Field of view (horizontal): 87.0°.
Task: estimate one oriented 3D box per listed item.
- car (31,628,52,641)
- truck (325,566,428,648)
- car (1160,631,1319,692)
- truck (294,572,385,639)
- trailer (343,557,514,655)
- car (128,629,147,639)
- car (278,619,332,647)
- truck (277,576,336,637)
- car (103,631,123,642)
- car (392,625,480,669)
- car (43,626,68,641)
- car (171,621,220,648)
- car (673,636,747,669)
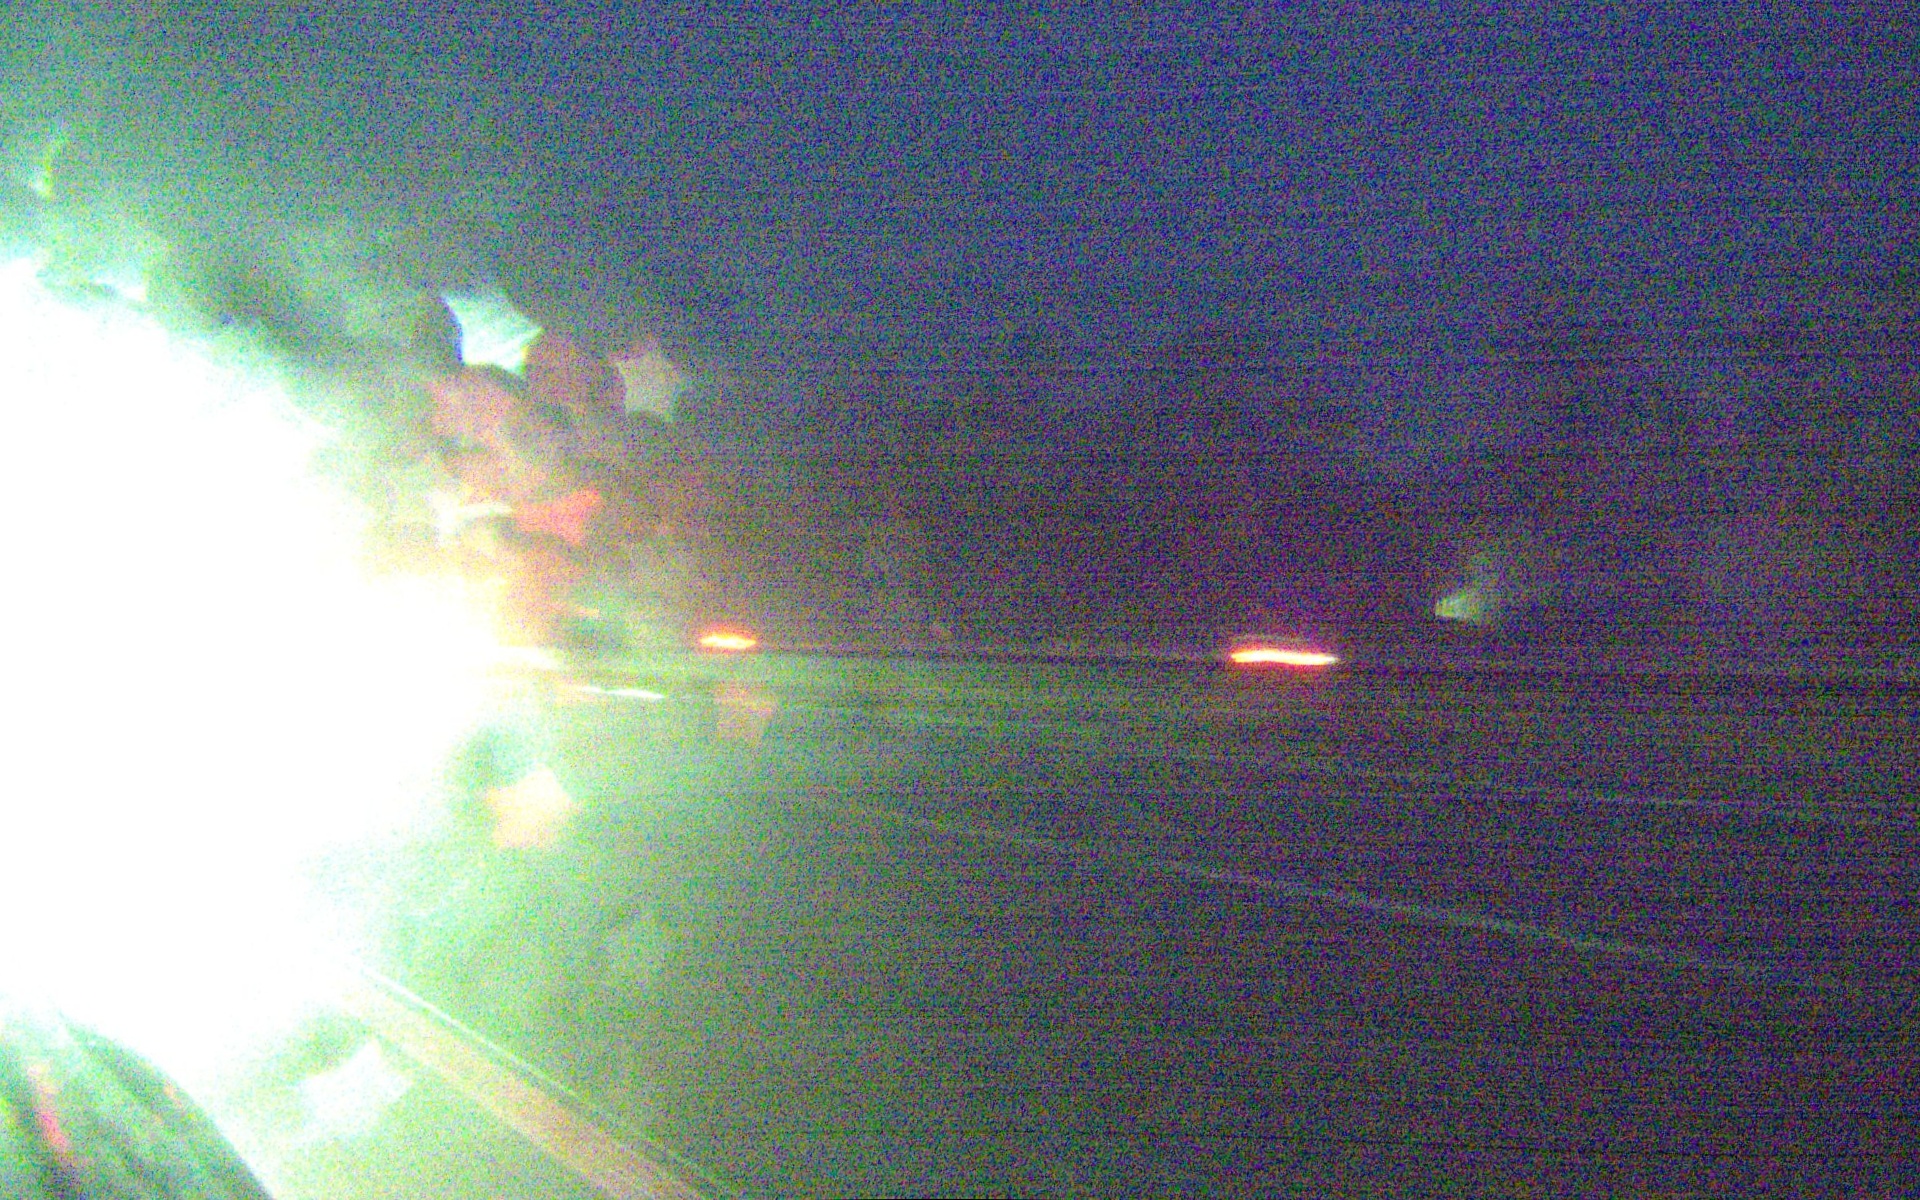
[{"bbox_3d":[-140.051,5.270,154.282,4.143,1.920,1.887,-1,0,42],"label":"car"},{"bbox_3d":[-36.861,0.437,63.909,6.475,4.946,3.750,-1,0,41],"label":"truck"},{"bbox_3d":[7.798,1.667,28.399,3.998,1.524,1.639,-1,0,41],"label":"car"},{"bbox_3d":[-55.623,0.546,90.508,12.789,5.634,3.205,-1,0,41],"label":"truck"},{"bbox_3d":[-31.204,0.361,58.883,14.794,5.066,3.749,-1,0,41],"label":"trailer"},{"bbox_3d":[-122.099,5.038,150.252,3.204,1.511,1.724,-1,0,42],"label":"car"},{"bbox_3d":[-38.717,1.918,59.798,3.998,1.524,1.639,-1,0,41],"label":"car"},{"bbox_3d":[-62.138,0.633,96.157,5.875,5.634,3.205,-1,0,41],"label":"truck"},{"bbox_3d":[-136.222,5.840,162.760,3.813,1.724,1.850,-1,0,42],"label":"car"},{"bbox_3d":[-19.893,1.735,38.391,3.944,1.524,1.639,-1,0,41],"label":"car"},{"bbox_3d":[-110.817,4.087,124.003,4.393,1.767,1.702,-1,0,40],"label":"car"},{"bbox_3d":[-47.116,2.100,62.344,3.998,1.524,1.639,-1,0,41],"label":"car"},{"bbox_3d":[-12.760,2.635,51.540,3.998,1.524,1.639,-1,0,41],"label":"car"}]
